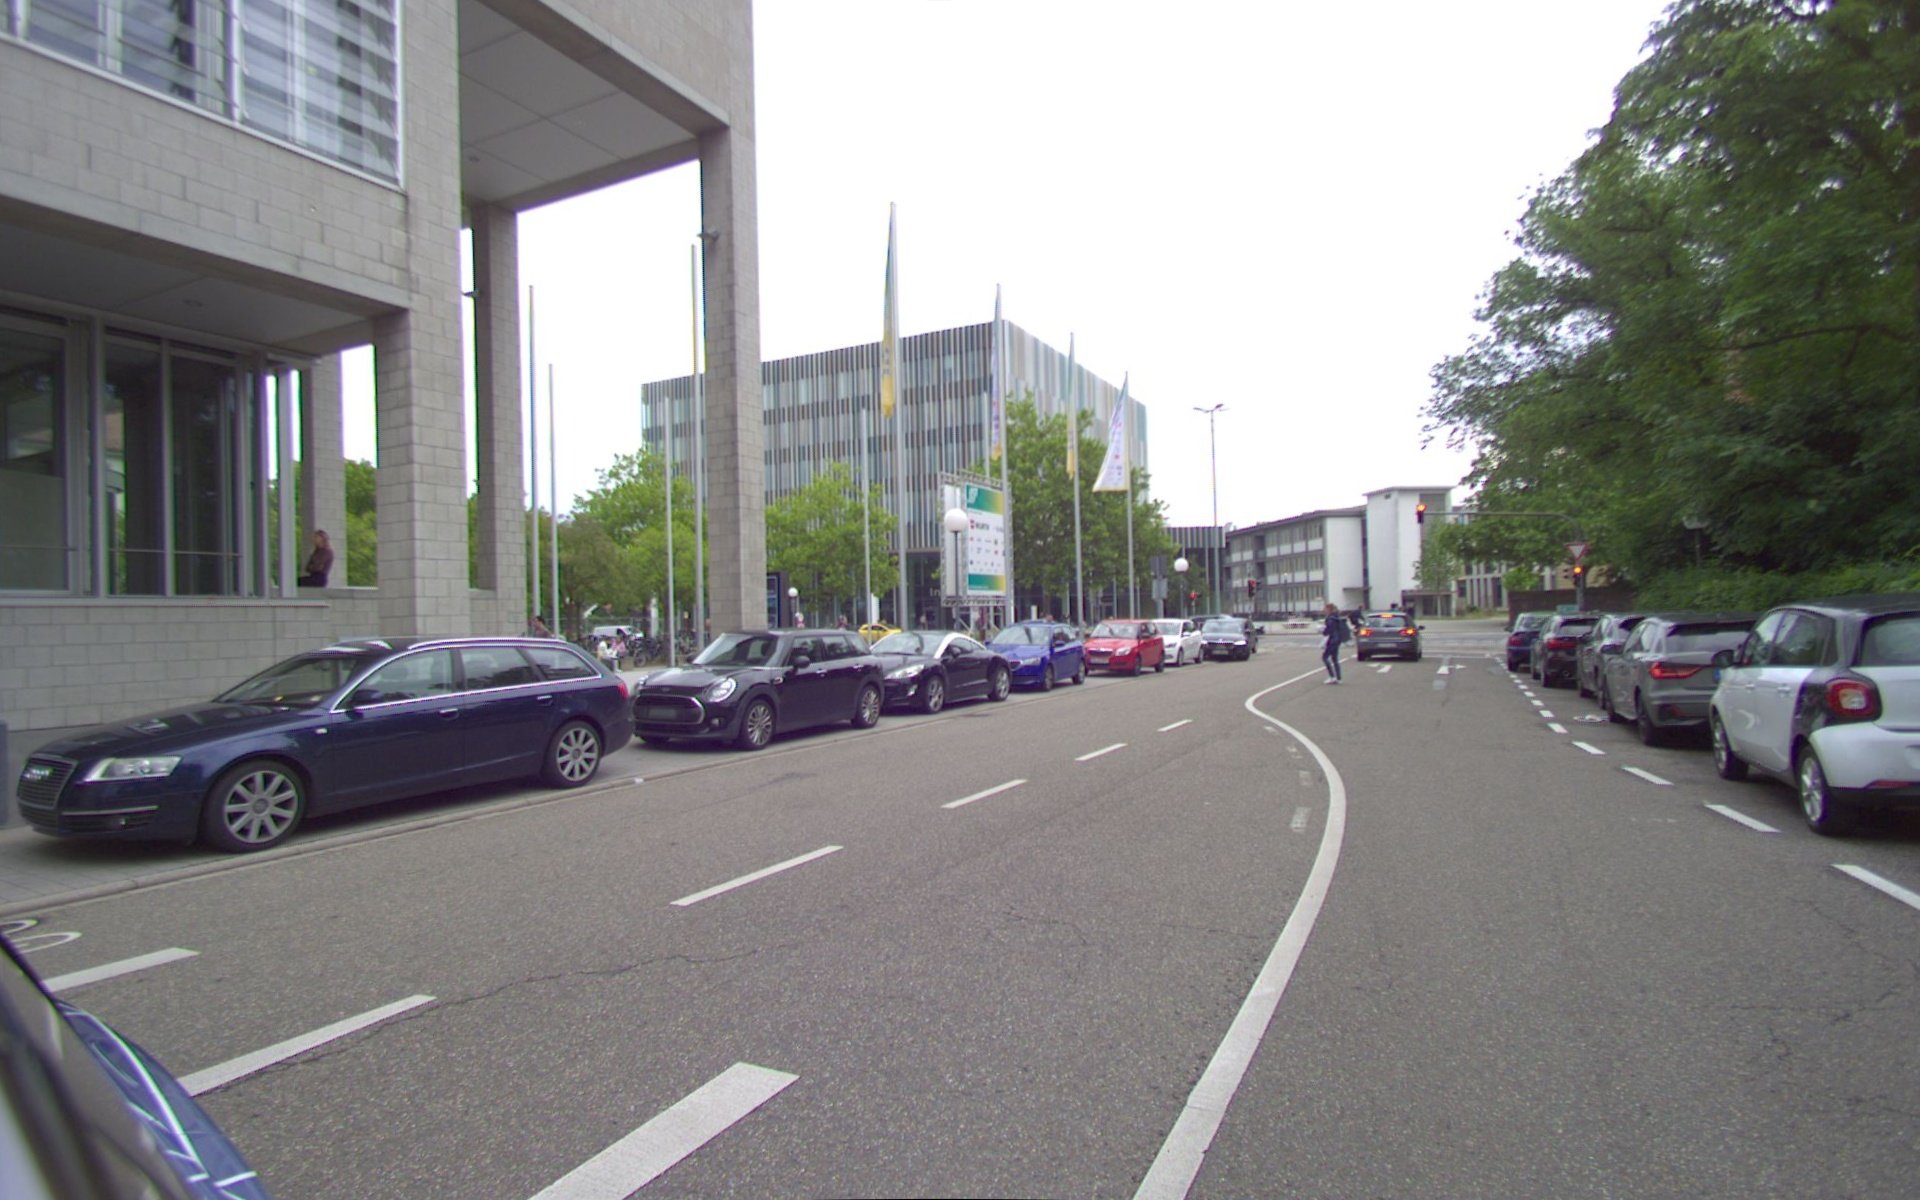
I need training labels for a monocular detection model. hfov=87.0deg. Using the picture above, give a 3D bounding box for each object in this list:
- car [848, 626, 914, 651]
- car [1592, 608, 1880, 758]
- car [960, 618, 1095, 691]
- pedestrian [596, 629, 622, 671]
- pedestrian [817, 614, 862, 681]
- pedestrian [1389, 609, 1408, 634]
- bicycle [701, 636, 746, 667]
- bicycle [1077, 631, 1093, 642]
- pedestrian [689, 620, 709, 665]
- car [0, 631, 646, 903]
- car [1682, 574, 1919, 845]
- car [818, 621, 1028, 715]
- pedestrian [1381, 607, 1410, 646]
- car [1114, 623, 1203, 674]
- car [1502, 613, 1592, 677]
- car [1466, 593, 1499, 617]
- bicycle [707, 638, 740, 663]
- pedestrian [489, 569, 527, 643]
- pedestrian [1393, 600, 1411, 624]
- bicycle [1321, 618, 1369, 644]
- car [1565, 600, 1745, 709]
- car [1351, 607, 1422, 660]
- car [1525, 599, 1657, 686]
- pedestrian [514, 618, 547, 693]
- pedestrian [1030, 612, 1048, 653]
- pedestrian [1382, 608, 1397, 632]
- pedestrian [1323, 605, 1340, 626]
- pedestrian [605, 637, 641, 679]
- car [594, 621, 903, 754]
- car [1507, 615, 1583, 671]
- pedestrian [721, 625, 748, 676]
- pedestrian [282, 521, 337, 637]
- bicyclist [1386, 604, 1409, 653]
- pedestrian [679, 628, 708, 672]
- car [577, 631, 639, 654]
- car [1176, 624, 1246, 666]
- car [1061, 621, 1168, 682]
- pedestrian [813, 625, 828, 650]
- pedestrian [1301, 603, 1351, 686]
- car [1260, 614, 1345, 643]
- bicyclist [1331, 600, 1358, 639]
[{"bbox_3d":[-5.558,2.710,71.271,4.172,1.630,1.982,-2,-1,27],"label":"car"},{"bbox_3d":[8.706,0.848,11.766,1.759,1.422,3.974,-2,-2,25],"label":"car"},{"bbox_3d":[1.637,1.154,22.837,1.690,1.422,4.342,-1,-1,23],"label":"car"},{"bbox_3d":[-12.349,1.744,35.590,0.663,1.424,0.770,-2,-1,-4],"label":"pedestrian"},{"bbox_3d":[-3.031,1.200,25.452,0.732,1.653,0.924,-3,-4,24],"label":"pedestrian"},{"bbox_3d":[31.345,1.536,72.373,0.832,1.802,0.897,-1,-2,-16],"label":"pedestrian"},{"bbox_3d":[-9.338,2.032,40.066,0.454,1.179,2.396,-3,-4,22],"label":"bicycle"},{"bbox_3d":[11.319,3.281,91.659,0.475,0.943,2.016,-1,-2,-23],"label":"bicycle"},{"bbox_3d":[-10.763,1.749,41.693,0.662,1.847,0.513,-1,-1,-23],"label":"pedestrian"},{"bbox_3d":[-5.188,1.086,8.622,1.990,1.463,4.878,-2,-1,27],"label":"car"},{"bbox_3d":[6.876,0.662,7.541,1.712,1.598,3.843,-3,-2,26],"label":"car"},{"bbox_3d":[-0.512,1.165,18.169,1.845,1.453,4.377,-3,-3,28],"label":"car"},{"bbox_3d":[18.571,1.138,43.130,1.039,1.632,0.651,-2,-1,28],"label":"pedestrian"},{"bbox_3d":[6.466,1.525,32.717,1.857,1.464,3.824,-2,-1,26],"label":"car"},{"bbox_3d":[14.897,1.083,25.715,1.796,1.419,4.292,-2,-1,30],"label":"car"},{"bbox_3d":[52.397,0.482,101.460,1.997,1.594,4.347,-12,-14,36],"label":"car"},{"bbox_3d":[-10.680,2.287,45.771,0.454,1.057,1.921,-1,-2,22],"label":"bicycle"},{"bbox_3d":[-11.267,0.170,25.225,0.682,1.726,0.911,3,-8,-35],"label":"pedestrian"},{"bbox_3d":[32.032,0.902,73.331,0.778,1.677,0.811,0,-5,-15],"label":"pedestrian"},{"bbox_3d":[17.154,1.382,45.125,1.778,1.101,0.875,-2,-2,4],"label":"bicycle"},{"bbox_3d":[10.722,0.772,15.890,1.758,1.482,3.790,-2,-1,26],"label":"car"},{"bbox_3d":[13.439,1.004,31.758,1.779,1.508,4.130,-2,-1,26],"label":"car"},{"bbox_3d":[12.747,0.821,20.706,1.794,1.573,4.489,-2,-2,26],"label":"car"},{"bbox_3d":[-10.329,1.335,24.343,0.636,1.725,0.784,-3,-2,-25],"label":"pedestrian"},{"bbox_3d":[3.419,1.393,43.837,0.666,1.728,0.676,-2,-1,13],"label":"pedestrian"},{"bbox_3d":[30.445,1.393,71.716,0.608,1.679,0.626,-2,-2,-12],"label":"pedestrian"},{"bbox_3d":[31.973,1.358,87.170,0.935,1.727,0.908,-2,-1,-33],"label":"pedestrian"},{"bbox_3d":[-12.180,2.084,36.593,0.844,1.431,0.964,-2,-1,16],"label":"pedestrian"},{"bbox_3d":[-2.645,1.033,13.818,1.814,1.454,4.481,-1,-1,25],"label":"car"},{"bbox_3d":[17.381,1.231,30.226,1.795,1.480,4.207,-2,-1,28],"label":"car"},{"bbox_3d":[-7.695,1.709,34.489,0.746,1.682,0.706,-2,-3,-4],"label":"pedestrian"},{"bbox_3d":[-9.849,-0.287,15.318,0.621,1.671,0.808,1,-5,-38],"label":"pedestrian"},{"bbox_3d":[16.243,1.051,37.590,0.654,1.793,0.977,-2,-1,19],"label":"bicyclist"},{"bbox_3d":[-10.597,1.980,40.300,0.841,1.717,0.967,-1,-1,4],"label":"pedestrian"},{"bbox_3d":[-28.975,3.508,83.350,4.812,1.675,1.983,-3,-2,25],"label":"car"},{"bbox_3d":[9.033,1.585,36.769,1.843,1.412,4.471,0,-1,6],"label":"car"},{"bbox_3d":[4.330,1.355,27.757,1.709,1.484,4.235,0,-1,26],"label":"car"},{"bbox_3d":[-11.604,3.139,84.423,0.848,2.029,0.995,-2,-2,16],"label":"pedestrian"},{"bbox_3d":[7.609,0.907,21.012,0.739,1.674,0.957,-2,-2,34],"label":"pedestrian"},{"bbox_3d":[19.404,1.611,57.327,4.270,1.500,1.982,-3,-1,27],"label":"car"},{"bbox_3d":[17.148,0.874,45.141,0.857,1.653,0.875,-2,-2,4],"label":"bicyclist"}]
